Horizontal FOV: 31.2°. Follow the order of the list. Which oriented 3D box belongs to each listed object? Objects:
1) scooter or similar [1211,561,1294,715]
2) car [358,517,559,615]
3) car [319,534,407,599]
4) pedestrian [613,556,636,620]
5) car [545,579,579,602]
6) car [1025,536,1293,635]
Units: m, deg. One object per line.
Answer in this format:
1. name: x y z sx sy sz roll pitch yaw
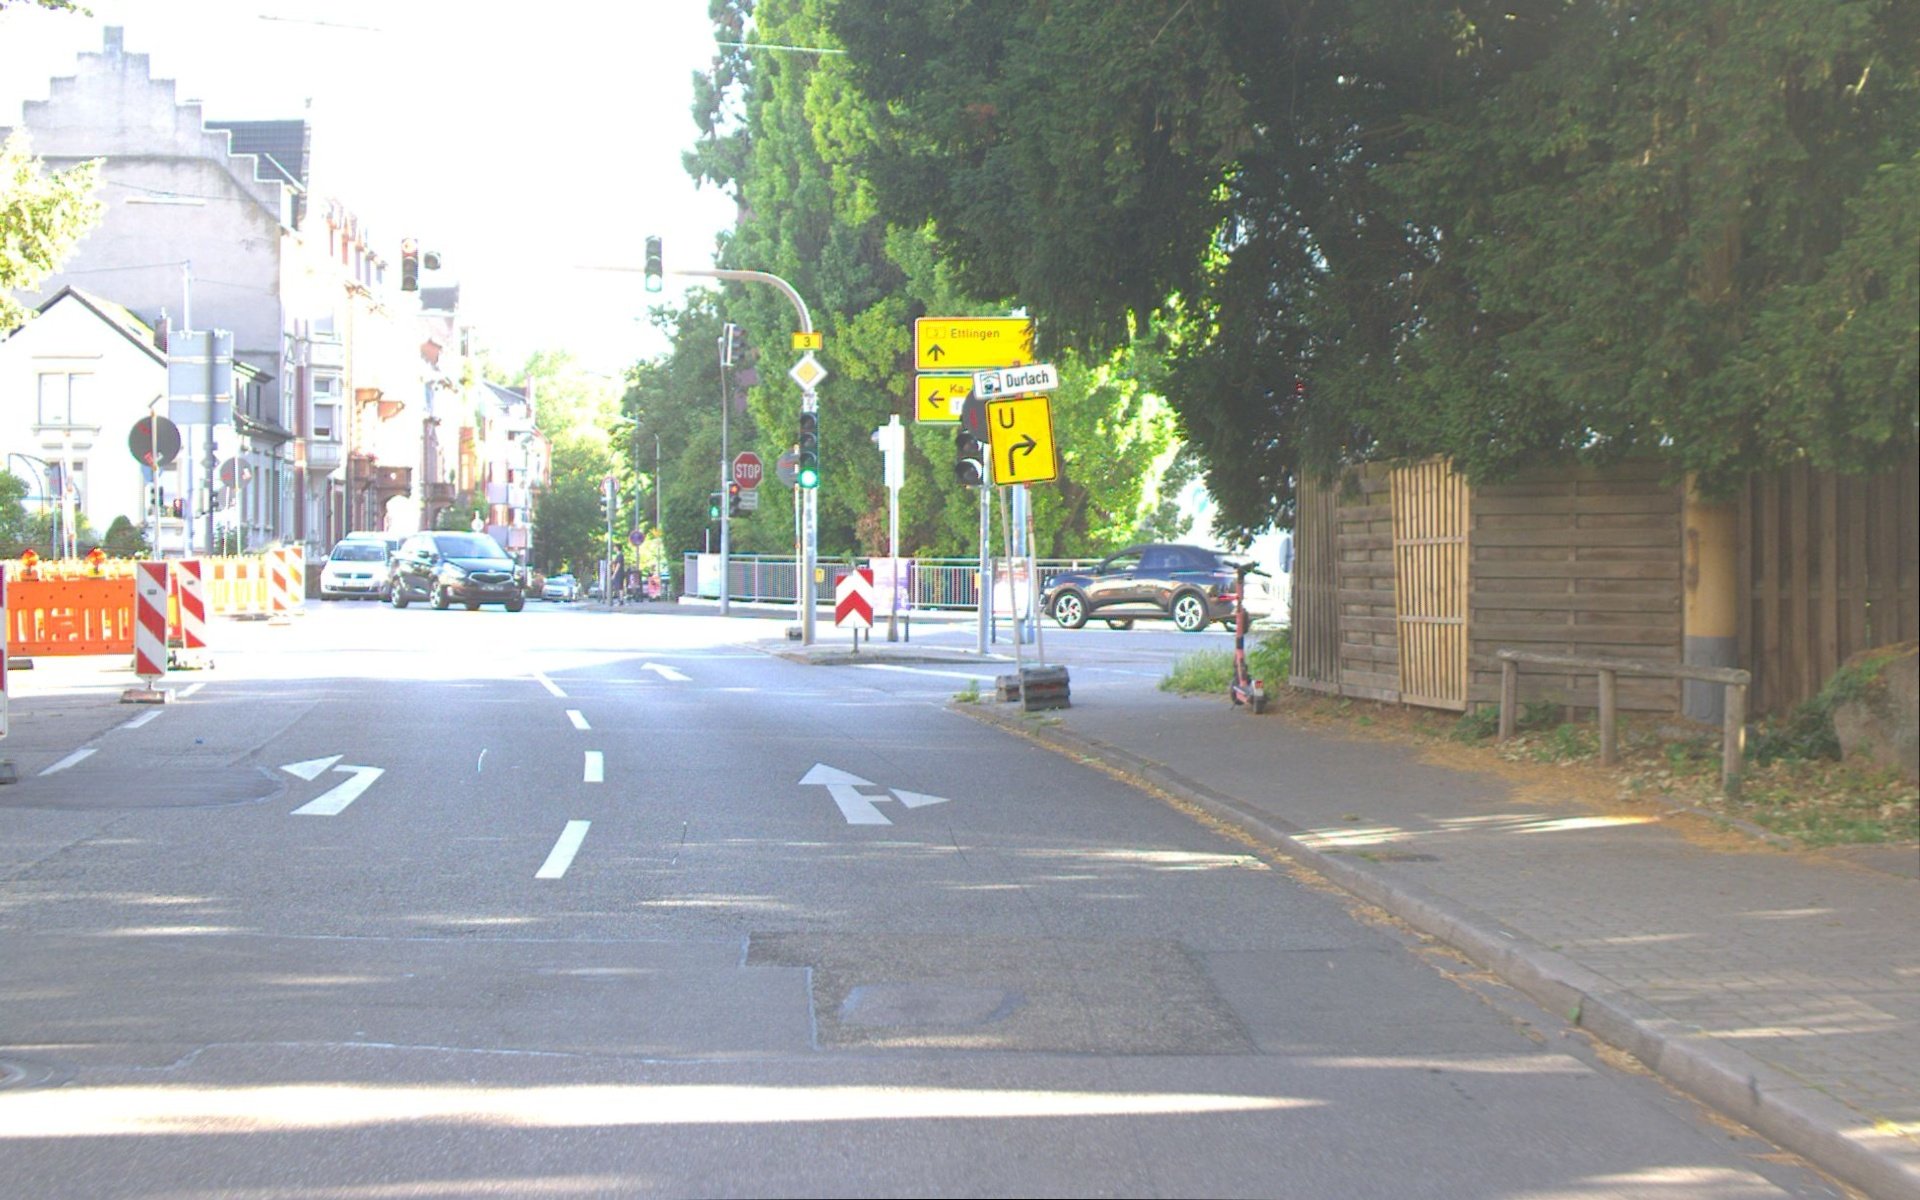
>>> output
1. scooter or similar: 2.363 0.293 27.865 0.438 1.198 1.258 -2 1 -4
2. car: -10.290 -0.725 70.375 1.995 1.809 4.250 -3 4 -43
3. car: -15.308 -0.877 88.005 1.775 1.537 4.001 2 1 -16
4. pedestrian: -8.880 -0.329 90.934 0.602 1.687 0.612 0 1 -5
5. car: -26.461 -0.640 228.680 1.993 1.486 4.471 0 1 -4
6. car: 3.721 -0.289 64.689 4.659 1.664 1.995 2 -2 38
